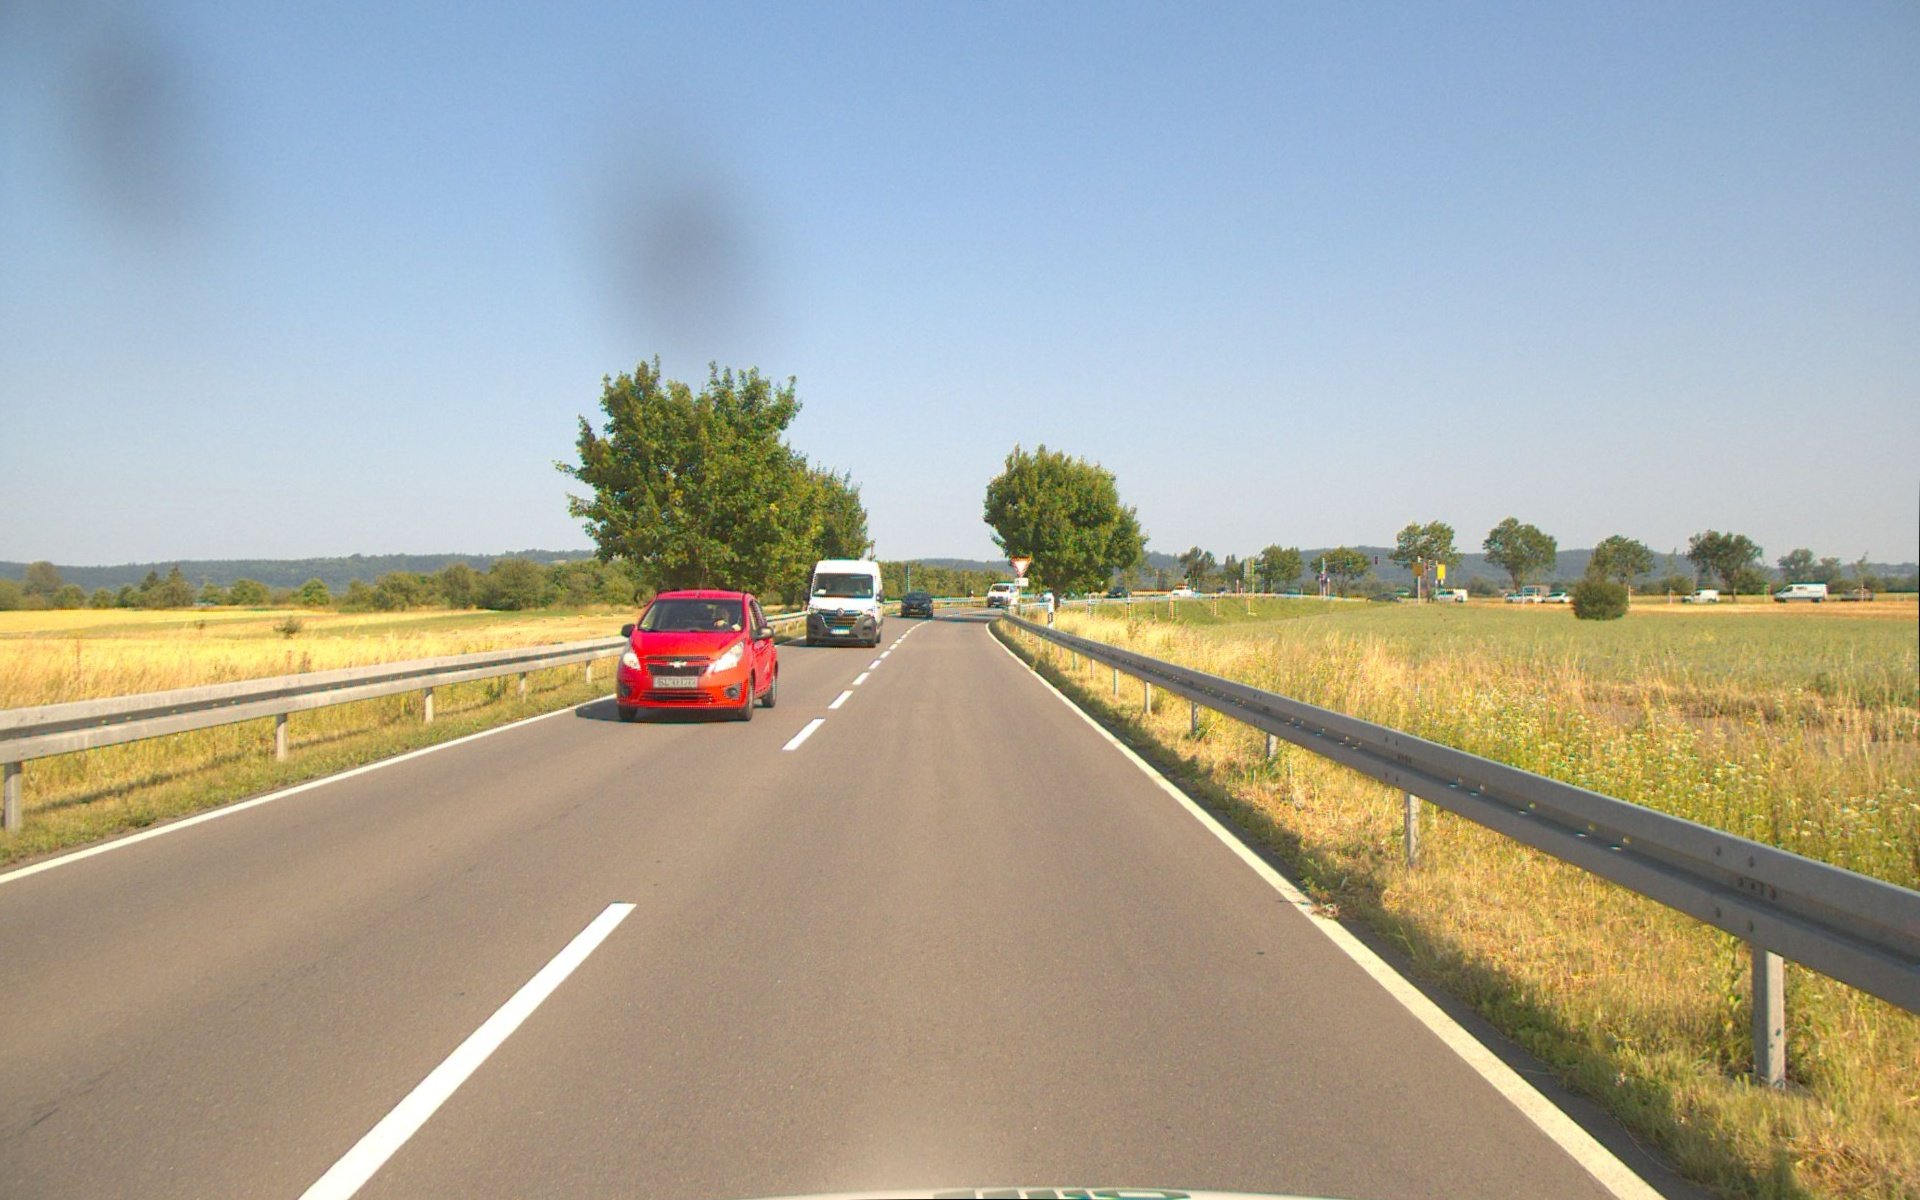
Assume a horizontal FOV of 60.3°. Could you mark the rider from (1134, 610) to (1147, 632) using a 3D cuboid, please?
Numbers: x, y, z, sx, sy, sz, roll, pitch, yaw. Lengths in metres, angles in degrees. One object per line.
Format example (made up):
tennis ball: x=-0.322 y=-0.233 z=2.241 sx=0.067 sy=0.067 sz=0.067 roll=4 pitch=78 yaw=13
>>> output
rider: x=12.775 y=1.508 z=116.992 sx=0.596 sy=1.554 sz=1.827 roll=1 pitch=-1 yaw=17

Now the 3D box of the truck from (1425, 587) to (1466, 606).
truck: x=66.840 y=-0.506 z=227.653 sx=4.969 sy=2.573 sz=1.991 roll=1 pitch=-1 yaw=38

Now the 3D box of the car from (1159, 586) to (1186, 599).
car: x=25.145 y=-0.890 z=195.698 sx=1.953 sy=1.559 sz=4.591 roll=1 pitch=0 yaw=22

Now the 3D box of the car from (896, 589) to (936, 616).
car: x=-2.532 y=0.131 z=95.477 sx=1.609 sy=1.497 sz=3.810 roll=1 pitch=0 yaw=9

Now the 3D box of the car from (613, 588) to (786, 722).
car: x=-3.159 y=0.613 z=20.689 sx=1.574 sy=1.514 sz=3.779 roll=0 pitch=0 yaw=0

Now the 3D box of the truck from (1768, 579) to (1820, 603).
truck: x=101.991 y=-1.106 z=202.253 sx=5.480 sy=2.742 sz=3.286 roll=1 pitch=-1 yaw=32

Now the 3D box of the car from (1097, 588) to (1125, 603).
car: x=16.078 y=-0.456 z=175.899 sx=1.952 sy=1.559 sz=4.594 roll=1 pitch=0 yaw=17

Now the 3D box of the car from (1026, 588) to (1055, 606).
car: x=7.484 y=-0.279 z=153.779 sx=1.862 sy=1.559 sz=4.595 roll=1 pitch=0 yaw=14

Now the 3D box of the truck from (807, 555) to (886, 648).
truck: x=-3.287 y=0.026 z=48.946 sx=1.953 sy=2.564 sz=6.243 roll=0 pitch=0 yaw=0

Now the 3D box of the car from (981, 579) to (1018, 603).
car: x=3.259 y=-0.737 z=135.144 sx=1.951 sy=1.917 sz=4.595 roll=1 pitch=0 yaw=15

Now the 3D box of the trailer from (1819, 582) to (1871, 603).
trailer: x=106.610 y=-0.904 z=199.317 sx=5.345 sy=2.395 sz=3.346 roll=1 pitch=-1 yaw=32

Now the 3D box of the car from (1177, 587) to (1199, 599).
car: x=29.477 y=-0.918 z=213.363 sx=1.952 sy=1.559 sz=4.593 roll=1 pitch=0 yaw=19
